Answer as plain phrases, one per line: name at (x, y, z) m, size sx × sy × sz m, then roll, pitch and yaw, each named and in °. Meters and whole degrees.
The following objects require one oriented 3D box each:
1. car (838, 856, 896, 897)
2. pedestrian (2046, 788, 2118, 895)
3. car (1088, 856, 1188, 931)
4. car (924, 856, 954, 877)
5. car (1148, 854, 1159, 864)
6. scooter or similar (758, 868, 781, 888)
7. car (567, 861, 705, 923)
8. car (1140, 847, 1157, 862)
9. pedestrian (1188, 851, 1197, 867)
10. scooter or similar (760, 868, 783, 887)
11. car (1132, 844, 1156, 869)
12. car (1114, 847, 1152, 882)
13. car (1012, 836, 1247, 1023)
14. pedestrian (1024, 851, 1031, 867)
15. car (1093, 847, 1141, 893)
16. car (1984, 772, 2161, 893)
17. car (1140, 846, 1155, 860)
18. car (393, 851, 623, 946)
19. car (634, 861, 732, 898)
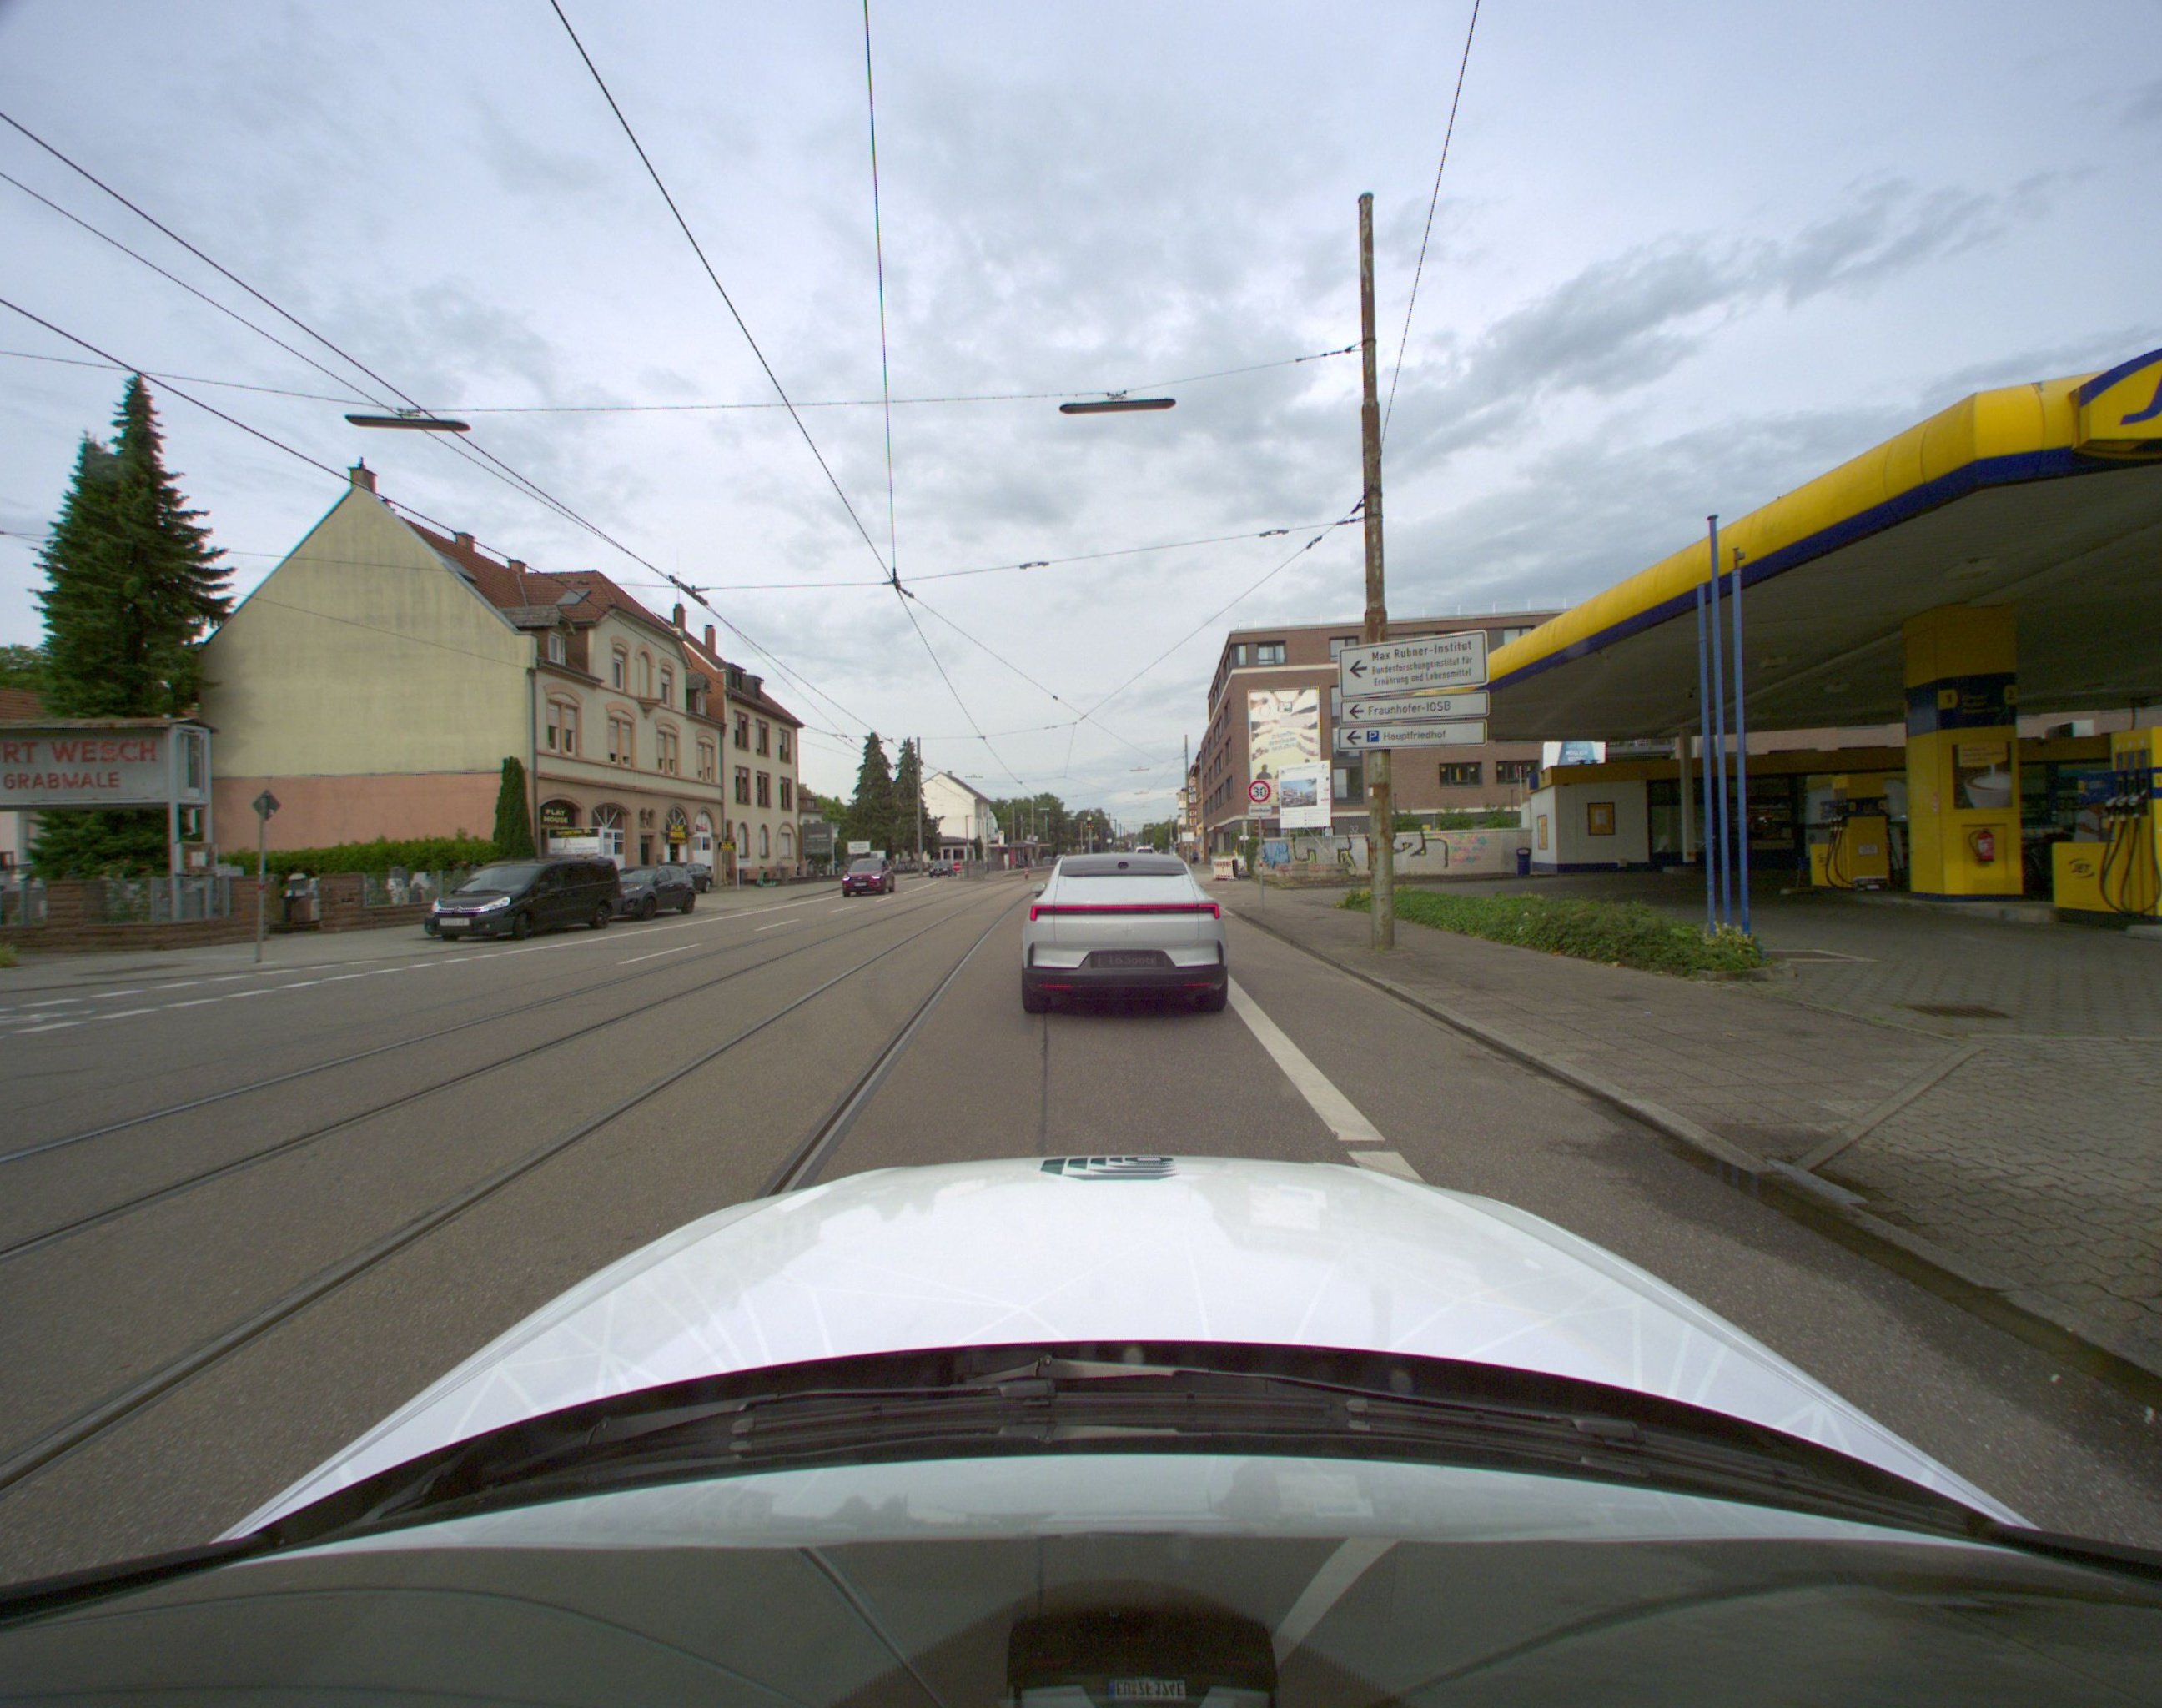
car at (-9.742, 0.991, 37.329) m, size 1.839 × 1.724 × 4.399 m, roll -2°, pitch 0°, yaw -6°
pedestrian at (17.263, -0.198, 14.064) m, size 0.619 × 1.787 × 0.712 m, roll -1°, pitch -1°, yaw 38°
car at (1.289, 0.812, 18.467) m, size 1.985 × 1.420 × 4.004 m, roll -2°, pitch 0°, yaw 4°
car at (-11.631, 1.009, 66.938) m, size 1.786 × 1.530 × 4.137 m, roll -3°, pitch 0°, yaw -3°
car at (16.012, 1.081, 179.949) m, size 1.986 × 2.014 × 4.001 m, roll -1°, pitch 0°, yaw 2°
scooter or similar at (-17.732, 1.356, 46.352) m, size 1.181 × 1.102 × 0.523 m, roll 0°, pitch -1°, yaw -29°
car at (-14.142, 1.132, 26.236) m, size 2.032 × 1.749 × 4.531 m, roll 0°, pitch 0°, yaw -2°
car at (8.863, 0.084, 106.765) m, size 1.986 × 2.014 × 4.002 m, roll -1°, pitch 0°, yaw 2°
pedestrian at (13.472, 0.586, 98.417) m, size 0.954 × 1.850 × 0.978 m, roll -4°, pitch 0°, yaw 11°
scooter or similar at (-17.902, 1.364, 47.172) m, size 1.181 × 1.102 × 0.523 m, roll 0°, pitch -1°, yaw -29°
car at (6.443, 0.258, 84.075) m, size 2.217 × 2.402 × 5.125 m, roll -1°, pitch 0°, yaw 2°
car at (2.868, 0.576, 45.755) m, size 1.986 × 1.816 × 4.002 m, roll -2°, pitch 0°, yaw 2°
car at (0.442, 0.663, 8.979) m, size 1.992 × 1.581 × 4.000 m, roll 0°, pitch -1°, yaw 1°
pedestrian at (-5.773, 0.546, 87.988) m, size 0.612 × 1.664 × 0.699 m, roll -1°, pitch -1°, yaw 7°
car at (1.462, 0.612, 31.887) m, size 1.673 × 1.687 × 3.829 m, roll -1°, pitch 0°, yaw 5°
car at (19.300, -0.388, 14.906) m, size 1.803 × 1.988 × 4.275 m, roll -3°, pitch -1°, yaw 19°
car at (9.507, -0.118, 116.505) m, size 1.986 × 2.014 × 4.002 m, roll -1°, pitch 0°, yaw 2°
car at (-13.723, 0.972, 20.018) m, size 1.981 × 2.014 × 5.183 m, roll 0°, pitch 0°, yaw -1°
car at (-17.846, 1.100, 36.823) m, size 1.987 × 1.493 × 4.902 m, roll -1°, pitch 0°, yaw 0°
